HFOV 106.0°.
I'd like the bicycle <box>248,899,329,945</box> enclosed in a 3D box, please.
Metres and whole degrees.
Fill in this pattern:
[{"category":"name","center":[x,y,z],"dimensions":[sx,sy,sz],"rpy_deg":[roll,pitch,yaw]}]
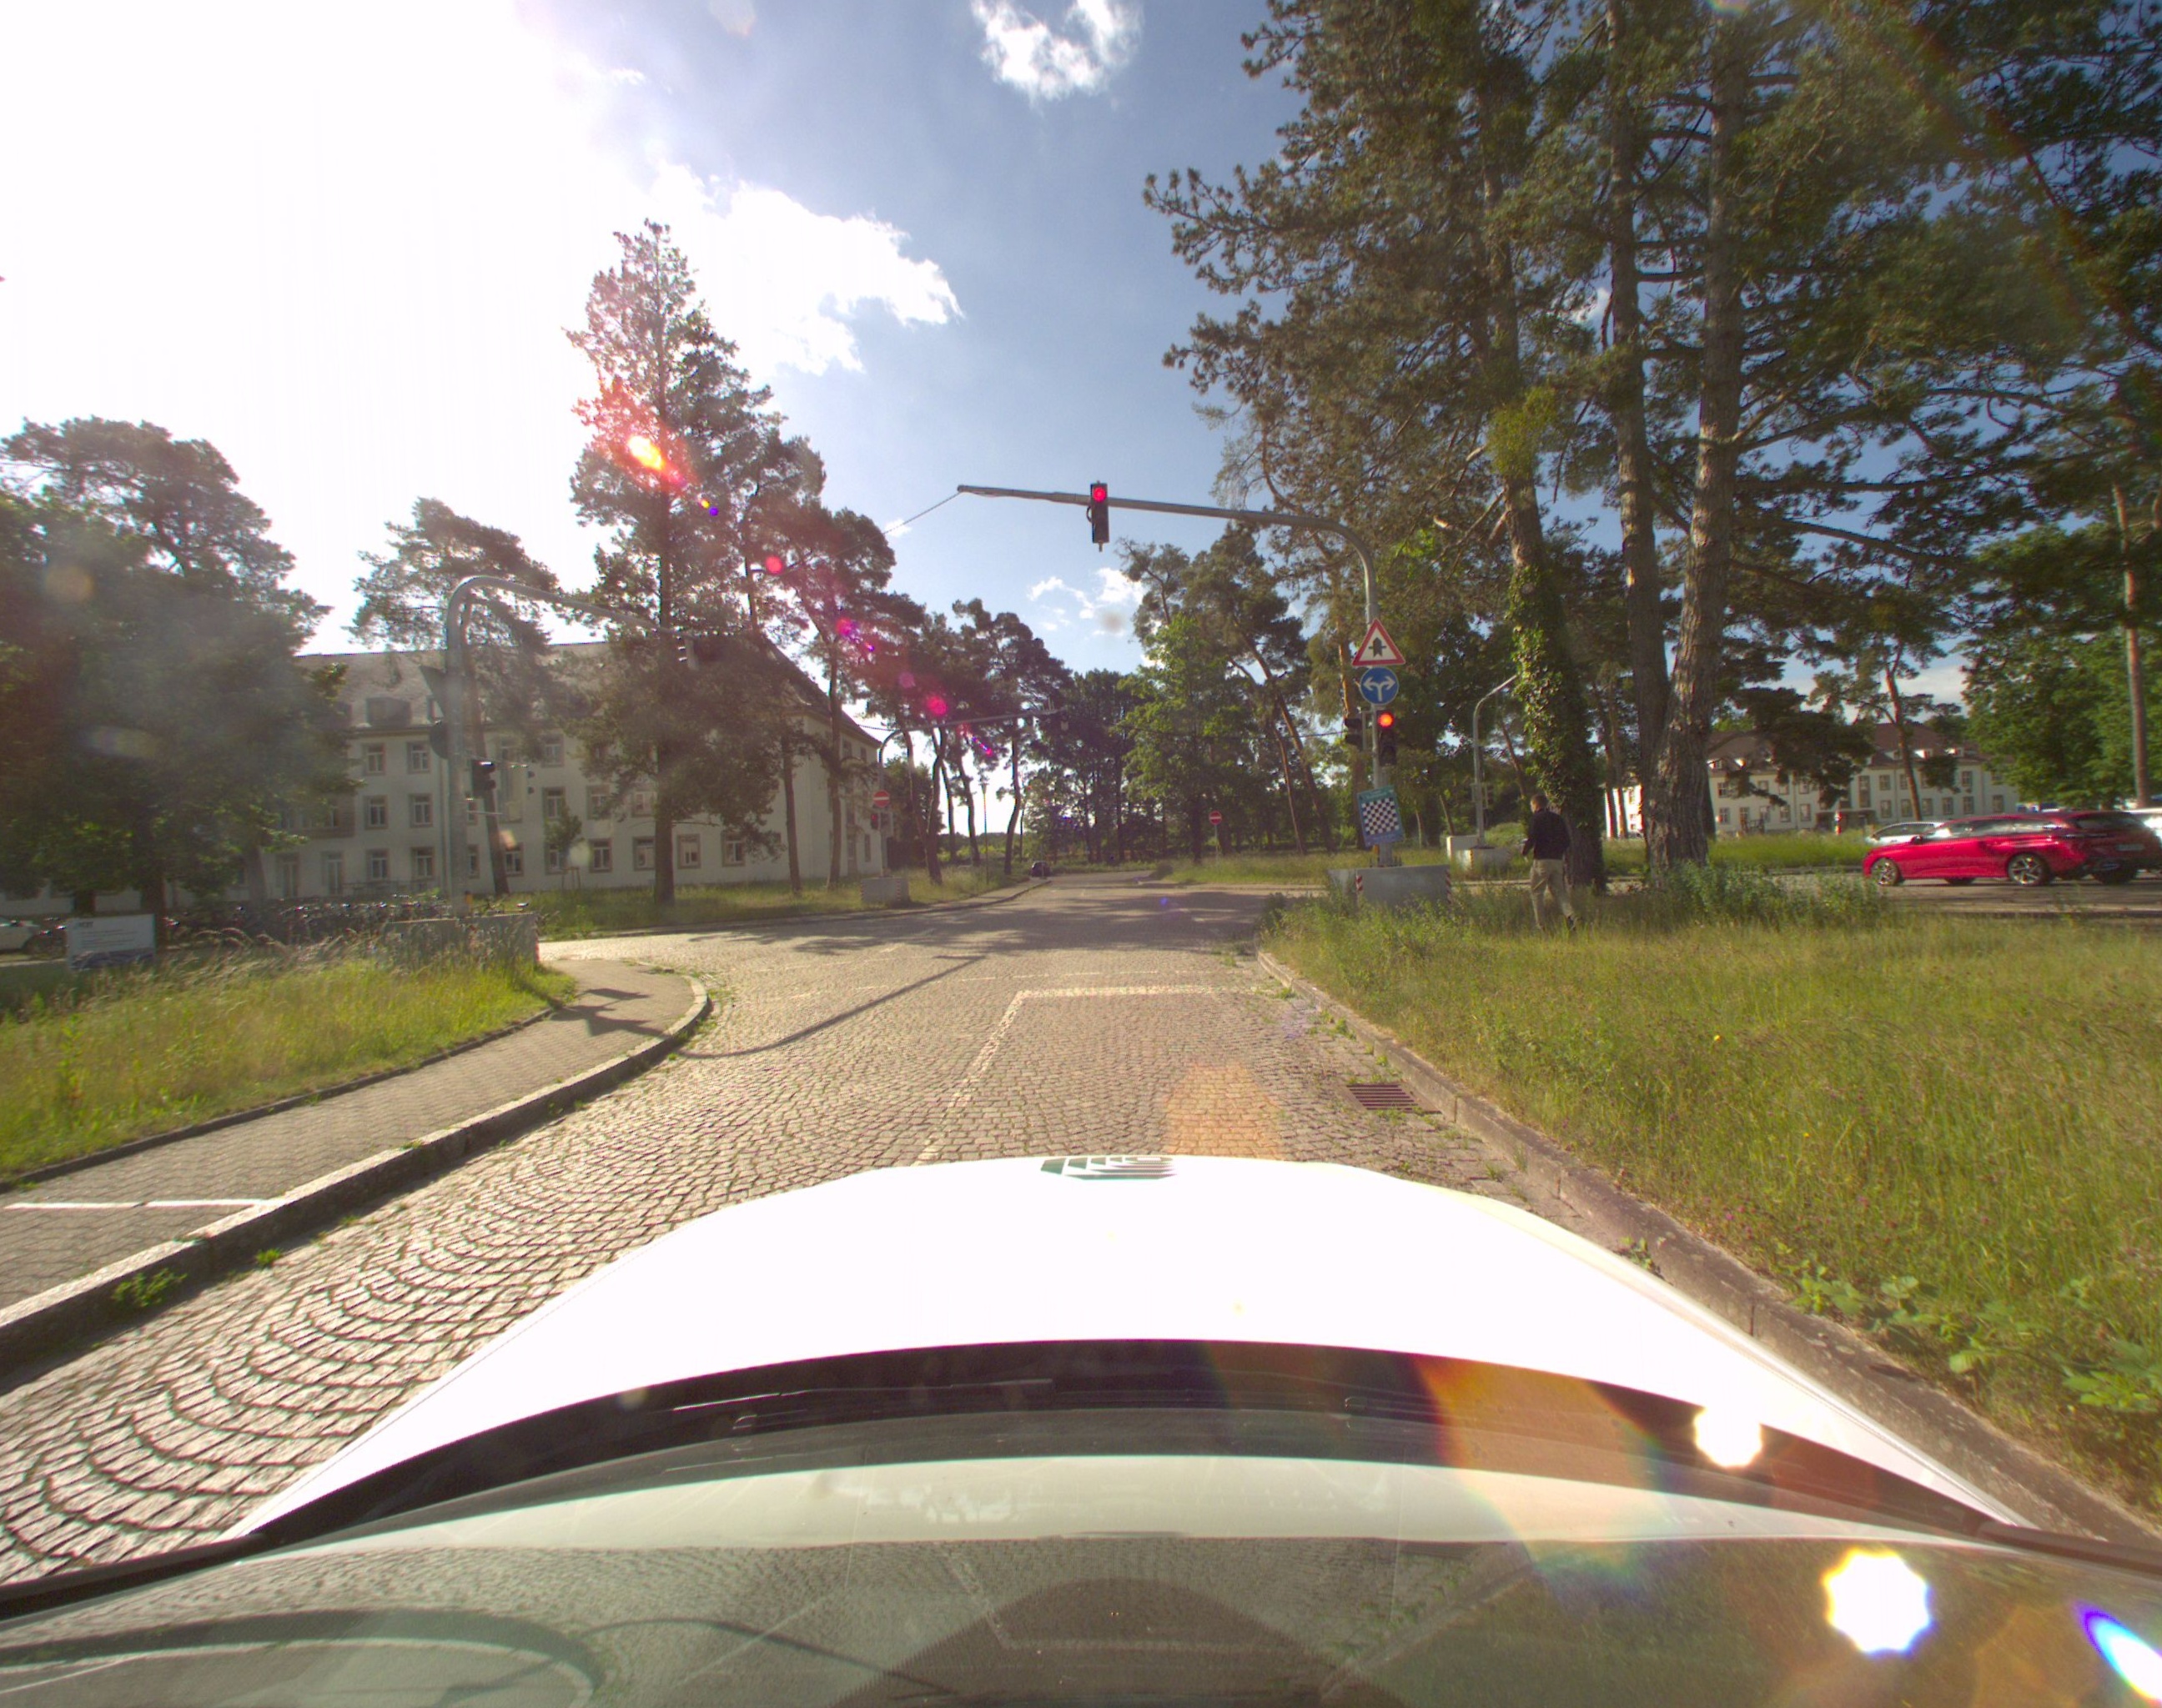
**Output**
[{"category":"bicycle","center":[-24.104,2.055,24.825],"dimensions":[0.512,1.220,1.937],"rpy_deg":[-3,0,1]}]

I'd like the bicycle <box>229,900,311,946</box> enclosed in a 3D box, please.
[{"category":"bicycle","center":[-24.697,2.072,24.846],"dimensions":[0.512,1.220,1.937],"rpy_deg":[-3,0,1]}]

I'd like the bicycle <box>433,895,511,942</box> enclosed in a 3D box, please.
[{"category":"bicycle","center":[-18.033,1.883,24.190],"dimensions":[0.631,1.220,2.124],"rpy_deg":[-3,0,1]}]

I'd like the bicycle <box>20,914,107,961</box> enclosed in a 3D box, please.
[{"category":"bicycle","center":[-30.448,2.468,24.411],"dimensions":[0.514,1.220,1.823],"rpy_deg":[-3,0,-9]}]

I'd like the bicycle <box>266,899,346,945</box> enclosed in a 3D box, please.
[{"category":"bicycle","center":[-23.559,2.039,24.802],"dimensions":[0.512,1.220,1.937],"rpy_deg":[-3,0,1]}]

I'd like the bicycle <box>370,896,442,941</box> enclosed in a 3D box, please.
[{"category":"bicycle","center":[-20.795,1.966,25.143],"dimensions":[0.546,1.220,1.900],"rpy_deg":[-3,0,1]}]

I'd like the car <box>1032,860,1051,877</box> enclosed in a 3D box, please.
[{"category":"car","center":[-3.918,1.415,80.666],"dimensions":[1.705,1.496,3.917],"rpy_deg":[-3,0,-1]}]

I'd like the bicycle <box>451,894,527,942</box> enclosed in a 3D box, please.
[{"category":"bicycle","center":[-17.549,1.868,24.197],"dimensions":[0.631,1.220,2.114],"rpy_deg":[-3,0,1]}]

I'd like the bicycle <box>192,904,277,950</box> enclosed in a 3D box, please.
[{"category":"bicycle","center":[-25.766,2.194,24.840],"dimensions":[0.512,1.220,1.937],"rpy_deg":[-3,0,1]}]

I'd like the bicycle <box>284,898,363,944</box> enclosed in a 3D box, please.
[{"category":"bicycle","center":[-23.004,2.023,24.789],"dimensions":[0.512,1.220,1.954],"rpy_deg":[-3,0,1]}]

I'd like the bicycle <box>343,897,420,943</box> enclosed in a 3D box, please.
[{"category":"bicycle","center":[-21.312,1.981,24.869],"dimensions":[0.512,1.220,2.016],"rpy_deg":[-3,0,1]}]

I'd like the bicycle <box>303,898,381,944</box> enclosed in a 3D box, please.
[{"category":"bicycle","center":[-22.478,2.010,24.820],"dimensions":[0.512,1.220,1.977],"rpy_deg":[-3,0,1]}]

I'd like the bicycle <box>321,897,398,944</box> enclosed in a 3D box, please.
[{"category":"bicycle","center":[-21.961,1.999,24.825],"dimensions":[0.512,1.220,1.977],"rpy_deg":[-3,0,1]}]

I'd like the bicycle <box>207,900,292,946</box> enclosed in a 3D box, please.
[{"category":"bicycle","center":[-25.307,2.089,24.836],"dimensions":[0.512,1.220,1.937],"rpy_deg":[-3,0,1]}]

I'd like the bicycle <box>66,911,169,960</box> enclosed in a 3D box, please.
[{"category":"bicycle","center":[-28.001,2.364,23.700],"dimensions":[1.837,1.220,0.510],"rpy_deg":[-3,0,-35]}]

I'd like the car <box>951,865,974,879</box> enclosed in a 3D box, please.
[{"category":"car","center":[-11.803,1.750,81.497],"dimensions":[1.705,1.274,3.917],"rpy_deg":[-3,0,-1]}]

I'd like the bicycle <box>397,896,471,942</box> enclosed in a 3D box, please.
[{"category":"bicycle","center":[-19.485,1.927,24.587],"dimensions":[0.570,1.220,1.990],"rpy_deg":[-3,0,1]}]

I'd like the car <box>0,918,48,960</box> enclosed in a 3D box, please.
[{"category":"car","center":[-34.074,2.705,24.414],"dimensions":[1.504,1.211,3.596],"rpy_deg":[-3,0,3]}]

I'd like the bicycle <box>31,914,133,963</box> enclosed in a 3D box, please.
[{"category":"bicycle","center":[-29.111,2.437,23.759],"dimensions":[0.509,1.220,1.841],"rpy_deg":[-3,0,38]}]

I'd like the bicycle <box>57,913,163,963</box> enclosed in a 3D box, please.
[{"category":"bicycle","center":[-27.611,2.358,23.190],"dimensions":[1.837,1.220,0.510],"rpy_deg":[-3,0,-35]}]

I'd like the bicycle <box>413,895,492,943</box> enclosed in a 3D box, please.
[{"category":"bicycle","center":[-18.636,1.901,24.198],"dimensions":[0.631,1.220,2.104],"rpy_deg":[-3,0,1]}]

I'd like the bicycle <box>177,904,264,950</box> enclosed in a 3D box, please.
[{"category":"bicycle","center":[-26.196,2.207,24.841],"dimensions":[0.512,1.220,1.937],"rpy_deg":[-3,0,1]}]

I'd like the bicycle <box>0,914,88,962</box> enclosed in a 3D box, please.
[{"category":"bicycle","center":[-31.054,2.486,24.396],"dimensions":[0.513,1.220,1.824],"rpy_deg":[-3,0,-7]}]

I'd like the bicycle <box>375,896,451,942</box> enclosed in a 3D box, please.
[{"category":"bicycle","center":[-20.230,1.951,24.719],"dimensions":[0.576,1.220,2.029],"rpy_deg":[-3,0,1]}]

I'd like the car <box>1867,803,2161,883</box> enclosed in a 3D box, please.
[{"category":"car","center":[18.795,-0.155,16.556],"dimensions":[1.649,1.399,4.130],"rpy_deg":[-2,-1,1]}]

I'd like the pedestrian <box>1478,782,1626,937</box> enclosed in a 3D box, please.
[{"category":"pedestrian","center":[5.910,0.067,10.299],"dimensions":[1.164,1.796,1.063],"rpy_deg":[-3,0,0]}]

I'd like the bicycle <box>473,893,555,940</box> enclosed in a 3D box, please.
[{"category":"bicycle","center":[-16.307,1.786,23.433],"dimensions":[1.855,1.220,0.635],"rpy_deg":[-3,0,0]}]

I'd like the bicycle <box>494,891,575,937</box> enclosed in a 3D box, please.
[{"category":"bicycle","center":[-16.192,1.764,24.147],"dimensions":[1.938,1.220,0.635],"rpy_deg":[-3,0,0]}]

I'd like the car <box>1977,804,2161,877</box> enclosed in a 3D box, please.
[{"category":"car","center":[21.671,-0.286,16.723],"dimensions":[1.773,1.379,4.239],"rpy_deg":[-3,-2,0]}]

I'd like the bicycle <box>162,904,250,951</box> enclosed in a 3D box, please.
[{"category":"bicycle","center":[-26.643,2.220,24.849],"dimensions":[0.512,1.220,1.937],"rpy_deg":[-3,0,1]}]
